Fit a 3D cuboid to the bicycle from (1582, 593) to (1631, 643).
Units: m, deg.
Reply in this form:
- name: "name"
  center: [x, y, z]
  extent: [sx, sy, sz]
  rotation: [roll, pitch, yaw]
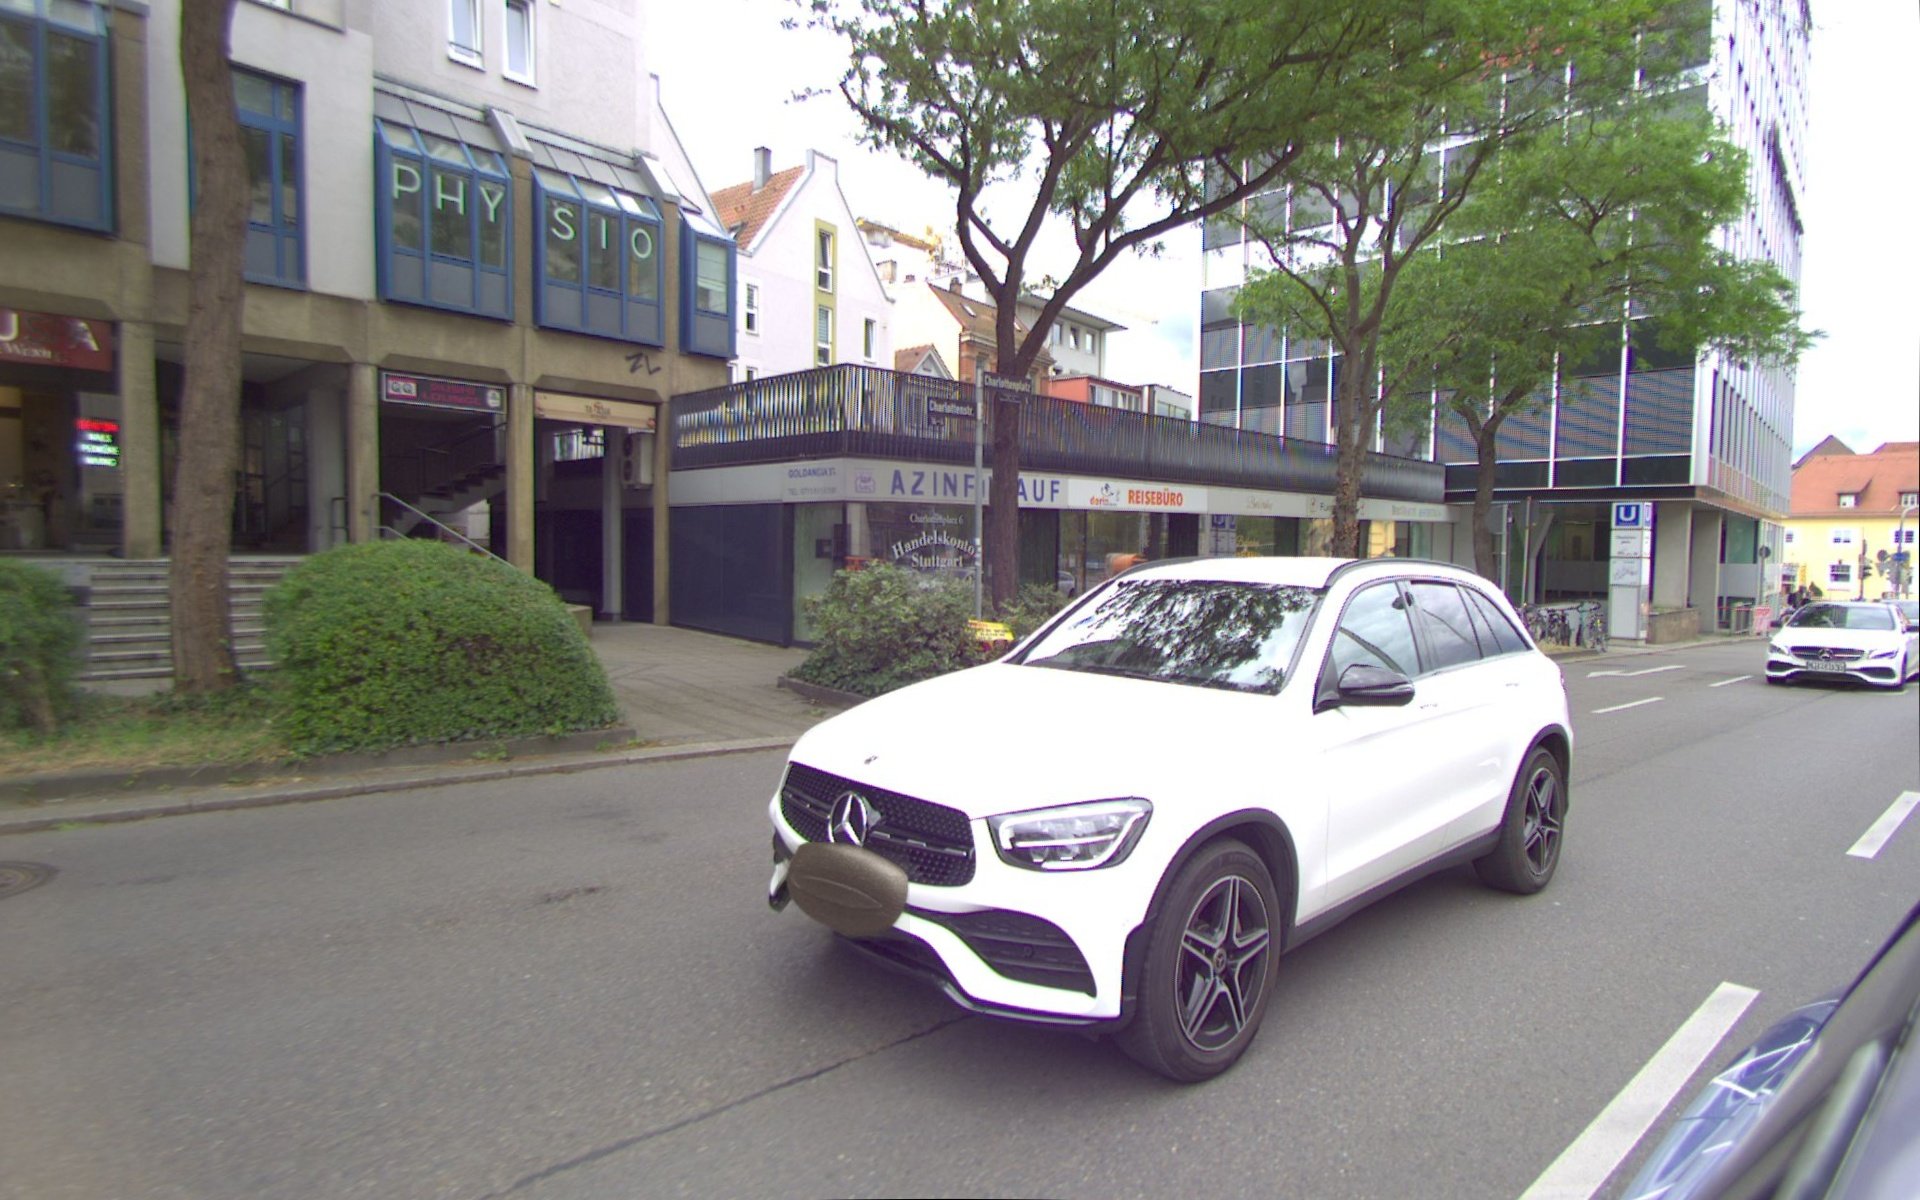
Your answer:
- name: "bicycle"
  center: [15.728, 0.421, 24.603]
  extent: [1.812, 1.146, 0.490]
  rotation: [0, 3, -42]

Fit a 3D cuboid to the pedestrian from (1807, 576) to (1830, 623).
- name: "pedestrian"
  center: [32.729, -0.044, 38.574]
  extent: [0.525, 1.731, 0.741]
  rotation: [5, 6, 43]

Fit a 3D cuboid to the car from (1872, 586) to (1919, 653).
- name: "car"
  center: [24.403, 0.485, 25.460]
  extent: [3.698, 1.551, 1.706]
  rotation: [0, 3, -41]

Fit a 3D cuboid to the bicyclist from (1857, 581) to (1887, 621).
- name: "bicyclist"
  center: [37.616, 0.040, 41.757]
  extent: [0.558, 1.568, 0.841]
  rotation: [3, 3, 20]

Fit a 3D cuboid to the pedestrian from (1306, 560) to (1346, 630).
- name: "pedestrian"
  center: [8.848, -0.128, 24.480]
  extent: [0.596, 1.648, 0.745]
  rotation: [4, 3, 43]

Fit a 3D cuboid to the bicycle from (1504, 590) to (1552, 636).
- name: "bicycle"
  center: [14.713, 0.326, 26.196]
  extent: [1.659, 1.146, 0.490]
  rotation: [0, 2, -41]

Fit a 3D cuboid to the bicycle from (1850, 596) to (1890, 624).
- name: "bicycle"
  center: [37.647, 0.416, 41.891]
  extent: [0.574, 1.039, 1.659]
  rotation: [3, 3, 20]

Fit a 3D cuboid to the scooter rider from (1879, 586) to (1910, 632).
- name: "scooter rider"
  center: [38.828, 0.372, 42.073]
  extent: [0.583, 1.830, 0.642]
  rotation: [2, 3, 8]

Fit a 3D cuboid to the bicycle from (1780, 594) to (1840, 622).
- name: "bicycle"
  center: [35.321, 0.318, 42.093]
  extent: [0.666, 1.019, 1.772]
  rotation: [3, 3, -16]

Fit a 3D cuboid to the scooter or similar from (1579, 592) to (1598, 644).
- name: "scooter or similar"
  center: [15.699, 0.435, 25.280]
  extent: [0.305, 1.267, 0.984]
  rotation: [3, 2, 36]

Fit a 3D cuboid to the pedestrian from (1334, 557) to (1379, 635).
- name: "pedestrian"
  center: [9.341, -0.095, 23.841]
  extent: [0.596, 1.775, 0.926]
  rotation: [4, 3, 43]

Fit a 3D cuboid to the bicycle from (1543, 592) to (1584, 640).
- name: "bicycle"
  center: [15.160, 0.377, 25.403]
  extent: [0.489, 1.146, 1.858]
  rotation: [3, 3, 43]

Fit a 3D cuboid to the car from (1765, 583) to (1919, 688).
- name: "car"
  center: [15.644, 0.511, 17.566]
  extent: [4.572, 1.589, 1.868]
  rotation: [0, 1, -42]

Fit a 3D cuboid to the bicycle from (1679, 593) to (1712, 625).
- name: "bicycle"
  center: [26.001, 0.306, 35.789]
  extent: [0.708, 1.061, 1.472]
  rotation: [2, 2, 28]

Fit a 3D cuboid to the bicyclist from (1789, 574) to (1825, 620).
- name: "bicyclist"
  center: [35.299, -0.132, 42.183]
  extent: [0.661, 1.868, 0.816]
  rotation: [1, 3, -16]

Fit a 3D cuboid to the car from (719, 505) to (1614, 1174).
- name: "car"
  center: [1.268, 0.508, 4.609]
  extent: [4.261, 1.666, 1.805]
  rotation: [-1, 4, -43]
